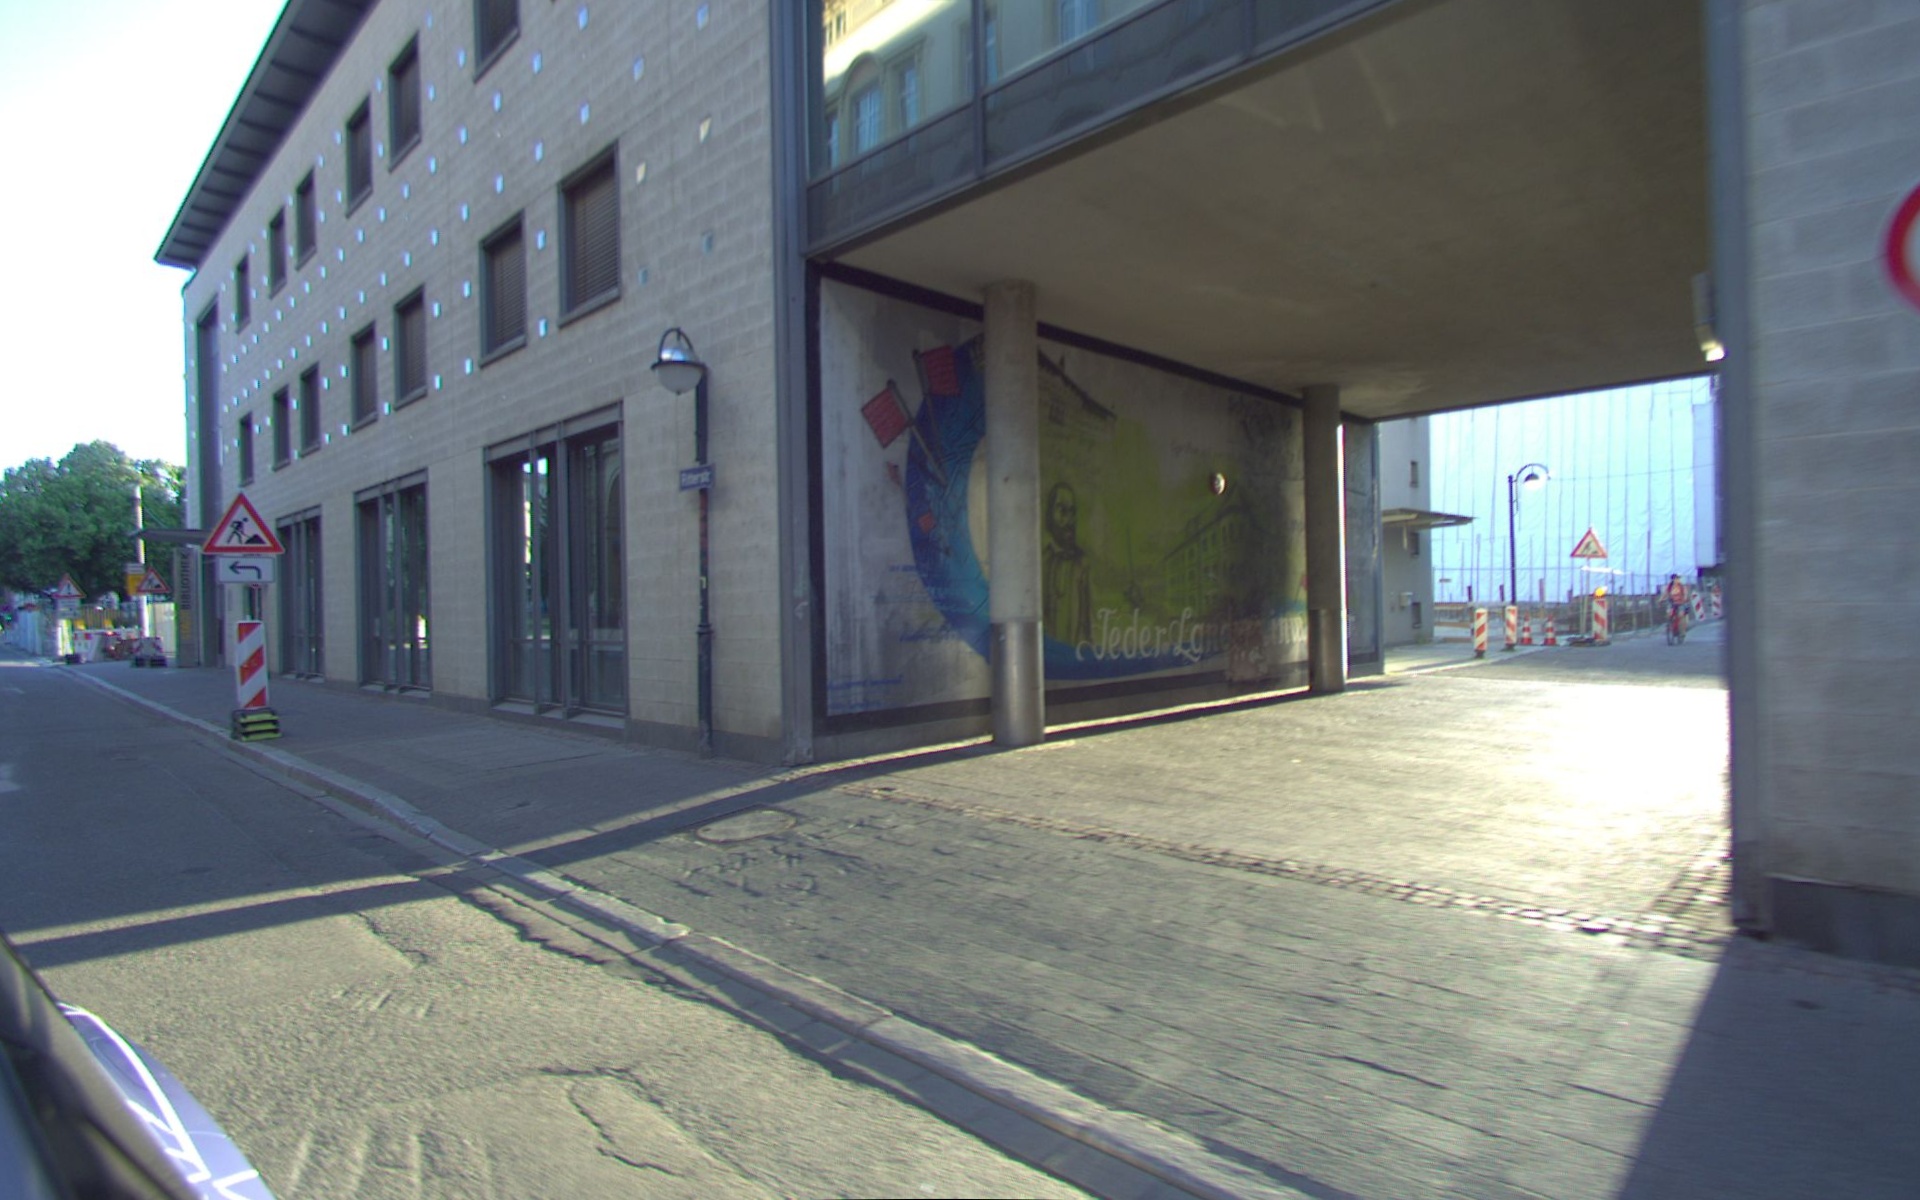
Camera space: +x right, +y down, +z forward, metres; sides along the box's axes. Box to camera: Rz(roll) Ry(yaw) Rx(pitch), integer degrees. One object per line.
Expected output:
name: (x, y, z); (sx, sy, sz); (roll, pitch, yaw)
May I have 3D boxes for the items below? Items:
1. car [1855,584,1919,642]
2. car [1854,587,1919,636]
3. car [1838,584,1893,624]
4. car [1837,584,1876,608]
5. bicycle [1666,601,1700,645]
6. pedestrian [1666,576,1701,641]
car: (24.954, 0.325, 26.838); (1.716, 1.426, 3.859); (-3, -2, 42)
car: (28.873, 0.332, 31.310); (1.716, 1.426, 3.859); (-3, -2, 42)
car: (40.596, 0.174, 45.377); (1.716, 1.714, 3.859); (-3, -2, 42)
car: (56.597, -0.259, 63.886); (1.716, 1.426, 3.859); (-3, -2, 42)
bicycle: (18.739, 0.588, 26.217); (0.603, 1.070, 1.997); (-2, -1, 38)
pedestrian: (18.729, 0.219, 26.196); (0.653, 1.646, 0.793); (-2, -1, 39)
